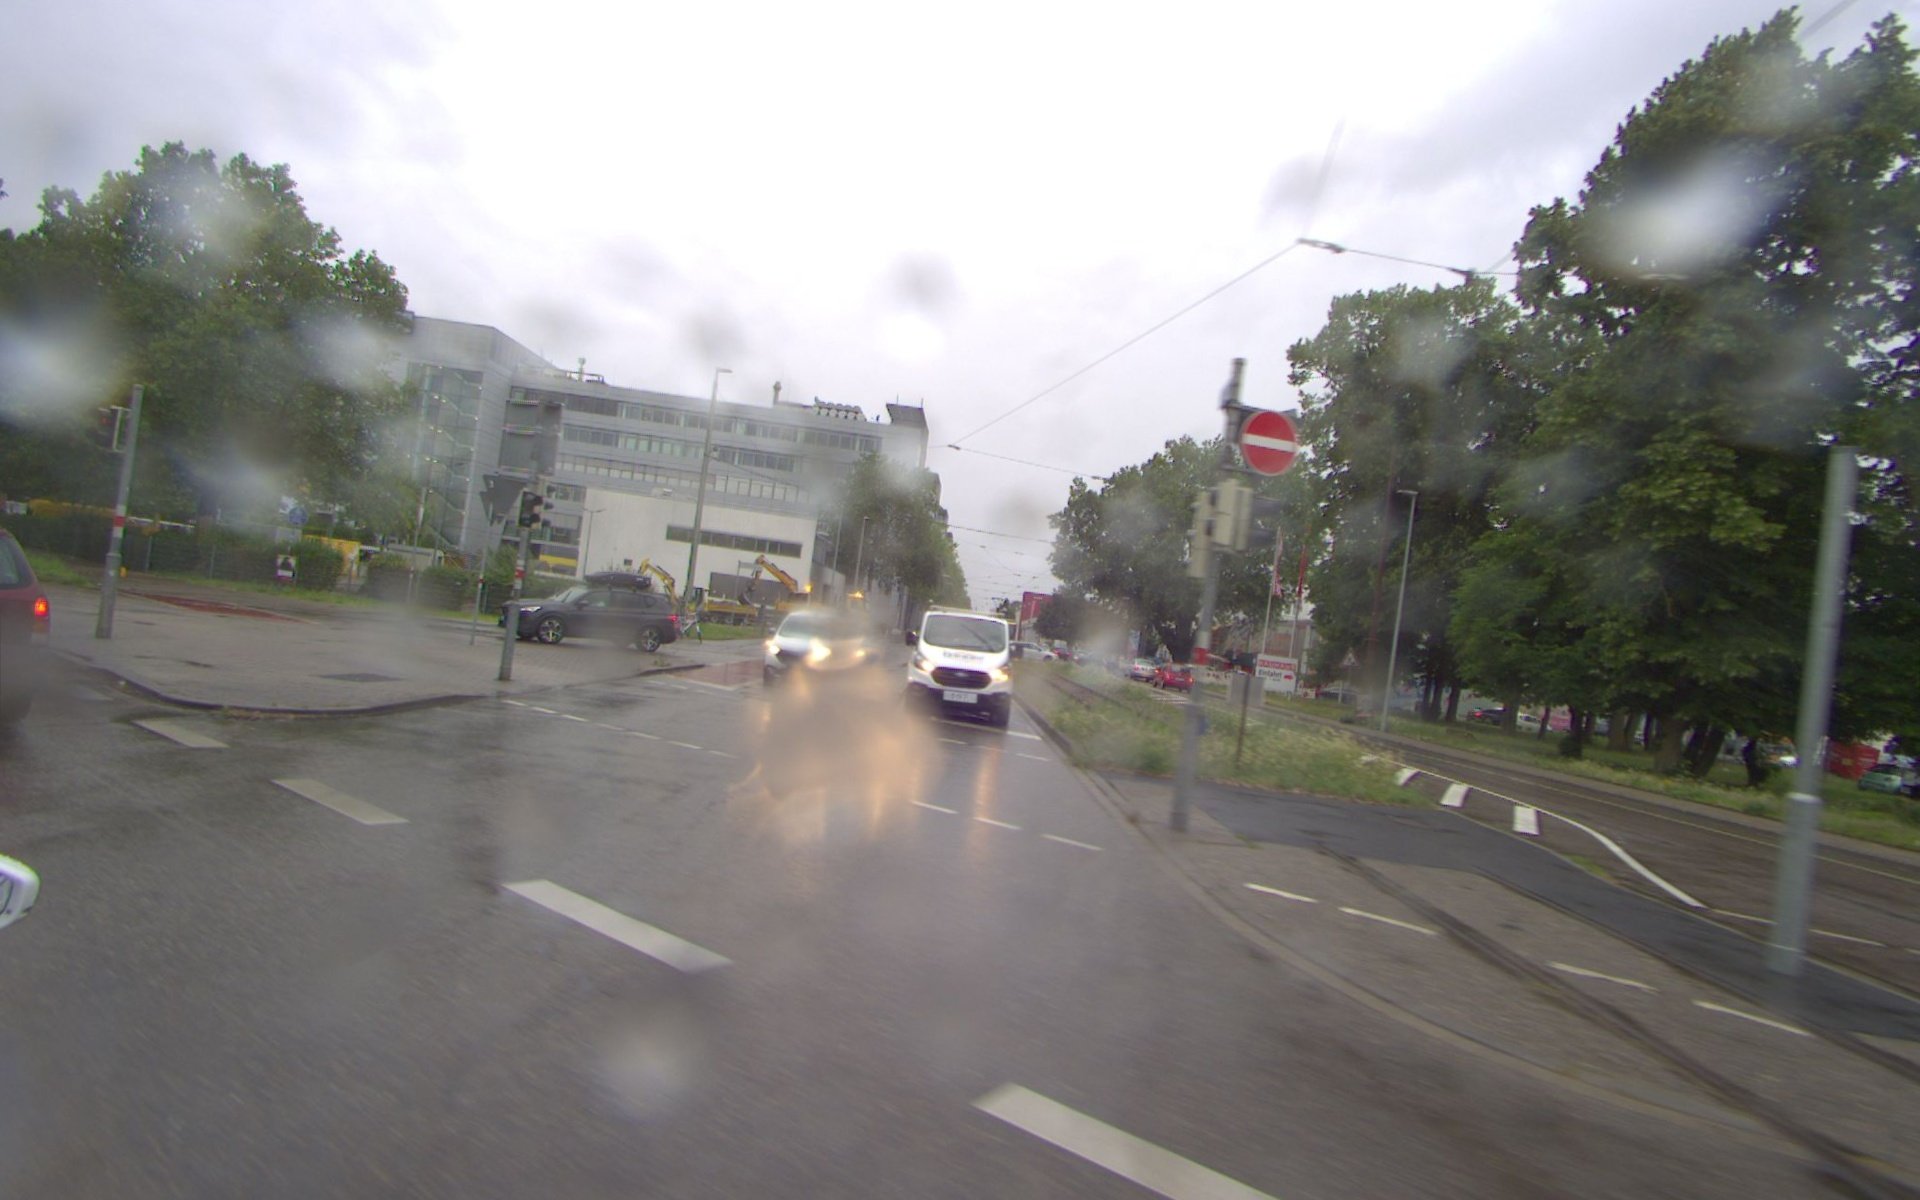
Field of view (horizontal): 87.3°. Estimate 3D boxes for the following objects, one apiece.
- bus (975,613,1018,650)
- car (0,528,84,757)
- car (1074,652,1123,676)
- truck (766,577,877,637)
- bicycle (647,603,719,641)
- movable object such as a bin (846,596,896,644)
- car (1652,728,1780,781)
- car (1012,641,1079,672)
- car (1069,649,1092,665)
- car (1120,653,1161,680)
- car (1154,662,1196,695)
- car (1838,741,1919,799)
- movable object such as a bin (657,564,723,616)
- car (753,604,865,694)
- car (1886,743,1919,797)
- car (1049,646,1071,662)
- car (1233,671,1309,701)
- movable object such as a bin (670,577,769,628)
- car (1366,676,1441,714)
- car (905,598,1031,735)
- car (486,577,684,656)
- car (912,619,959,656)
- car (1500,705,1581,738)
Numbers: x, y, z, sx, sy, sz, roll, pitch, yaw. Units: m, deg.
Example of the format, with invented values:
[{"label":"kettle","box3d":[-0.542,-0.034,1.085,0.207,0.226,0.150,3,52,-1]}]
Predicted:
[{"label":"bus","box3d":[3.375,2.918,95.057,2.484,3.071,8.524,7,-2,-6]},{"label":"car","box3d":[-8.150,0.060,7.358,3.674,1.480,1.646,7,-4,35]},{"label":"car","box3d":[11.638,5.391,84.630,3.747,1.507,1.680,8,-2,-1]},{"label":"truck","box3d":[-10.639,0.596,77.743,7.744,3.548,3.330,8,-1,1]},{"label":"bicycle","box3d":[-9.984,0.797,36.284,2.293,1.058,0.841,8,-2,-35]},{"label":"movable object such as a bin","box3d":[-7.564,1.743,86.336,3.266,3.548,6.325,7,-1,1]},{"label":"car","box3d":[39.983,8.159,53.306,4.941,1.858,2.193,8,-1,2]},{"label":"car","box3d":[6.606,4.384,77.936,4.965,1.672,1.885,8,-4,5]},{"label":"car","box3d":[13.242,6.280,110.644,1.891,1.507,4.834,7,-2,2]},{"label":"car","box3d":[12.209,4.481,68.401,1.891,1.507,4.834,7,-2,2]},{"label":"car","box3d":[11.833,4.311,55.554,1.647,1.507,3.823,8,-3,5]},{"label":"car","box3d":[38.819,7.031,40.405,4.941,1.858,2.193,8,-1,2]},{"label":"movable object such as a bin","box3d":[-18.625,-0.639,69.566,3.270,3.031,3.329,7,-1,0]},{"label":"car","box3d":[-3.335,1.087,22.992,1.744,1.640,4.384,8,-2,0]},{"label":"car","box3d":[37.819,6.661,37.189,4.941,1.858,2.193,8,-1,2]},{"label":"car","box3d":[10.724,5.796,108.308,1.891,1.507,4.834,7,-2,2]},{"label":"car","box3d":[27.350,7.556,88.551,5.851,1.752,2.279,7,-1,1]},{"label":"movable object such as a bin","box3d":[-18.573,0.214,78.003,6.598,3.031,3.329,8,-1,0]},{"label":"car","box3d":[34.171,7.323,77.552,4.669,2.238,1.967,7,-1,2]},{"label":"car","box3d":[0.098,1.243,19.887,1.963,2.149,4.691,7,-2,-1]},{"label":"car","box3d":[-10.089,0.495,27.348,1.776,1.542,4.624,6,-2,43]},{"label":"car","box3d":[-1.688,2.758,72.582,1.962,2.034,5.378,8,-4,13]},{"label":"car","box3d":[44.665,9.336,77.483,4.941,1.752,1.967,7,-1,2]}]
